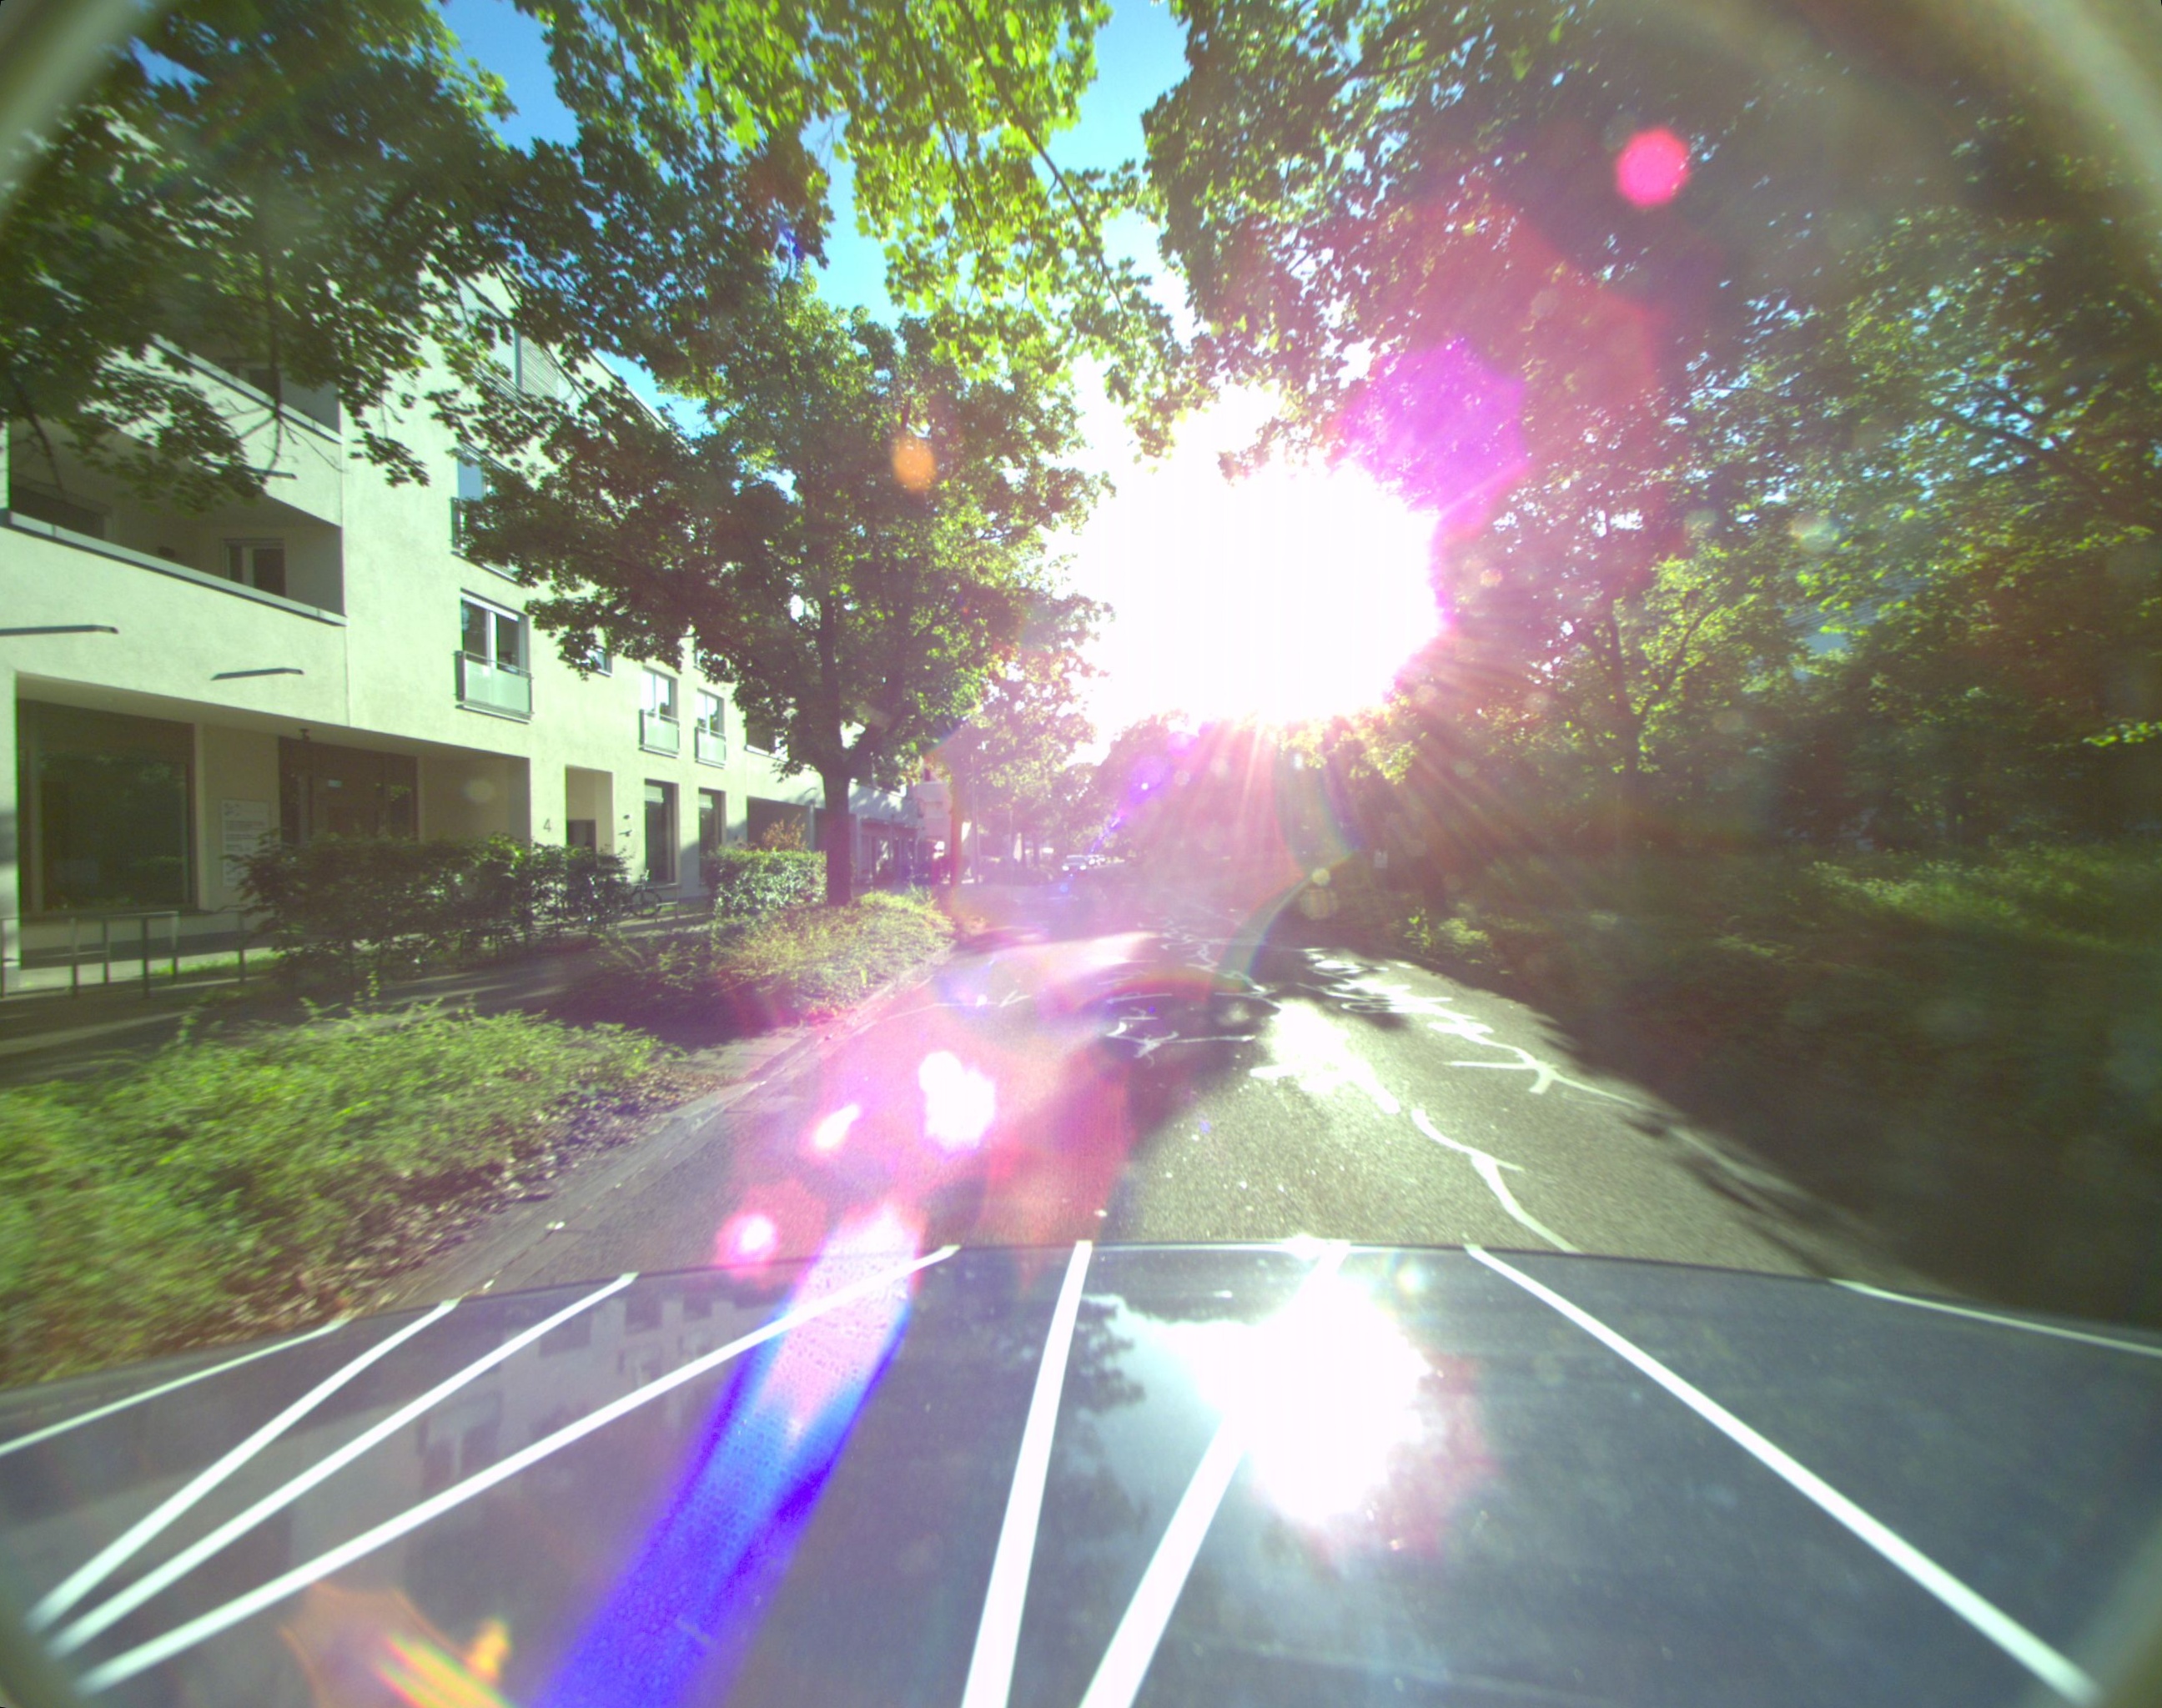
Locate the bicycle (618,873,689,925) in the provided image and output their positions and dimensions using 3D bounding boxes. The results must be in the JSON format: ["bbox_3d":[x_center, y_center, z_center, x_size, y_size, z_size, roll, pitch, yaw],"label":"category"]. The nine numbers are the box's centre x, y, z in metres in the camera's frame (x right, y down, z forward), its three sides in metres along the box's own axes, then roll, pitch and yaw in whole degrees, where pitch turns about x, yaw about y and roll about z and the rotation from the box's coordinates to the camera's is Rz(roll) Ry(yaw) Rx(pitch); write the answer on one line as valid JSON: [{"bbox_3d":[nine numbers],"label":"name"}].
[{"bbox_3d":[-10.064,1.035,17.970,0.420,1.081,2.112,-2,1,1],"label":"bicycle"}]

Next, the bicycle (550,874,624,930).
[{"bbox_3d":[-10.991,1.034,16.984,0.420,1.104,1.787,-2,1,1],"label":"bicycle"}]

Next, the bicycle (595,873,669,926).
[{"bbox_3d":[-10.481,1.034,17.839,0.420,1.081,2.112,-2,1,1],"label":"bicycle"}]

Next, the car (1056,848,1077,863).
[{"bbox_3d":[-1.567,0.151,82.867,1.998,1.531,4.000,-2,1,2],"label":"car"}]

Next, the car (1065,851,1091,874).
[{"bbox_3d":[-0.238,0.627,58.583,1.890,1.612,4.617,-2,1,-1],"label":"car"}]
